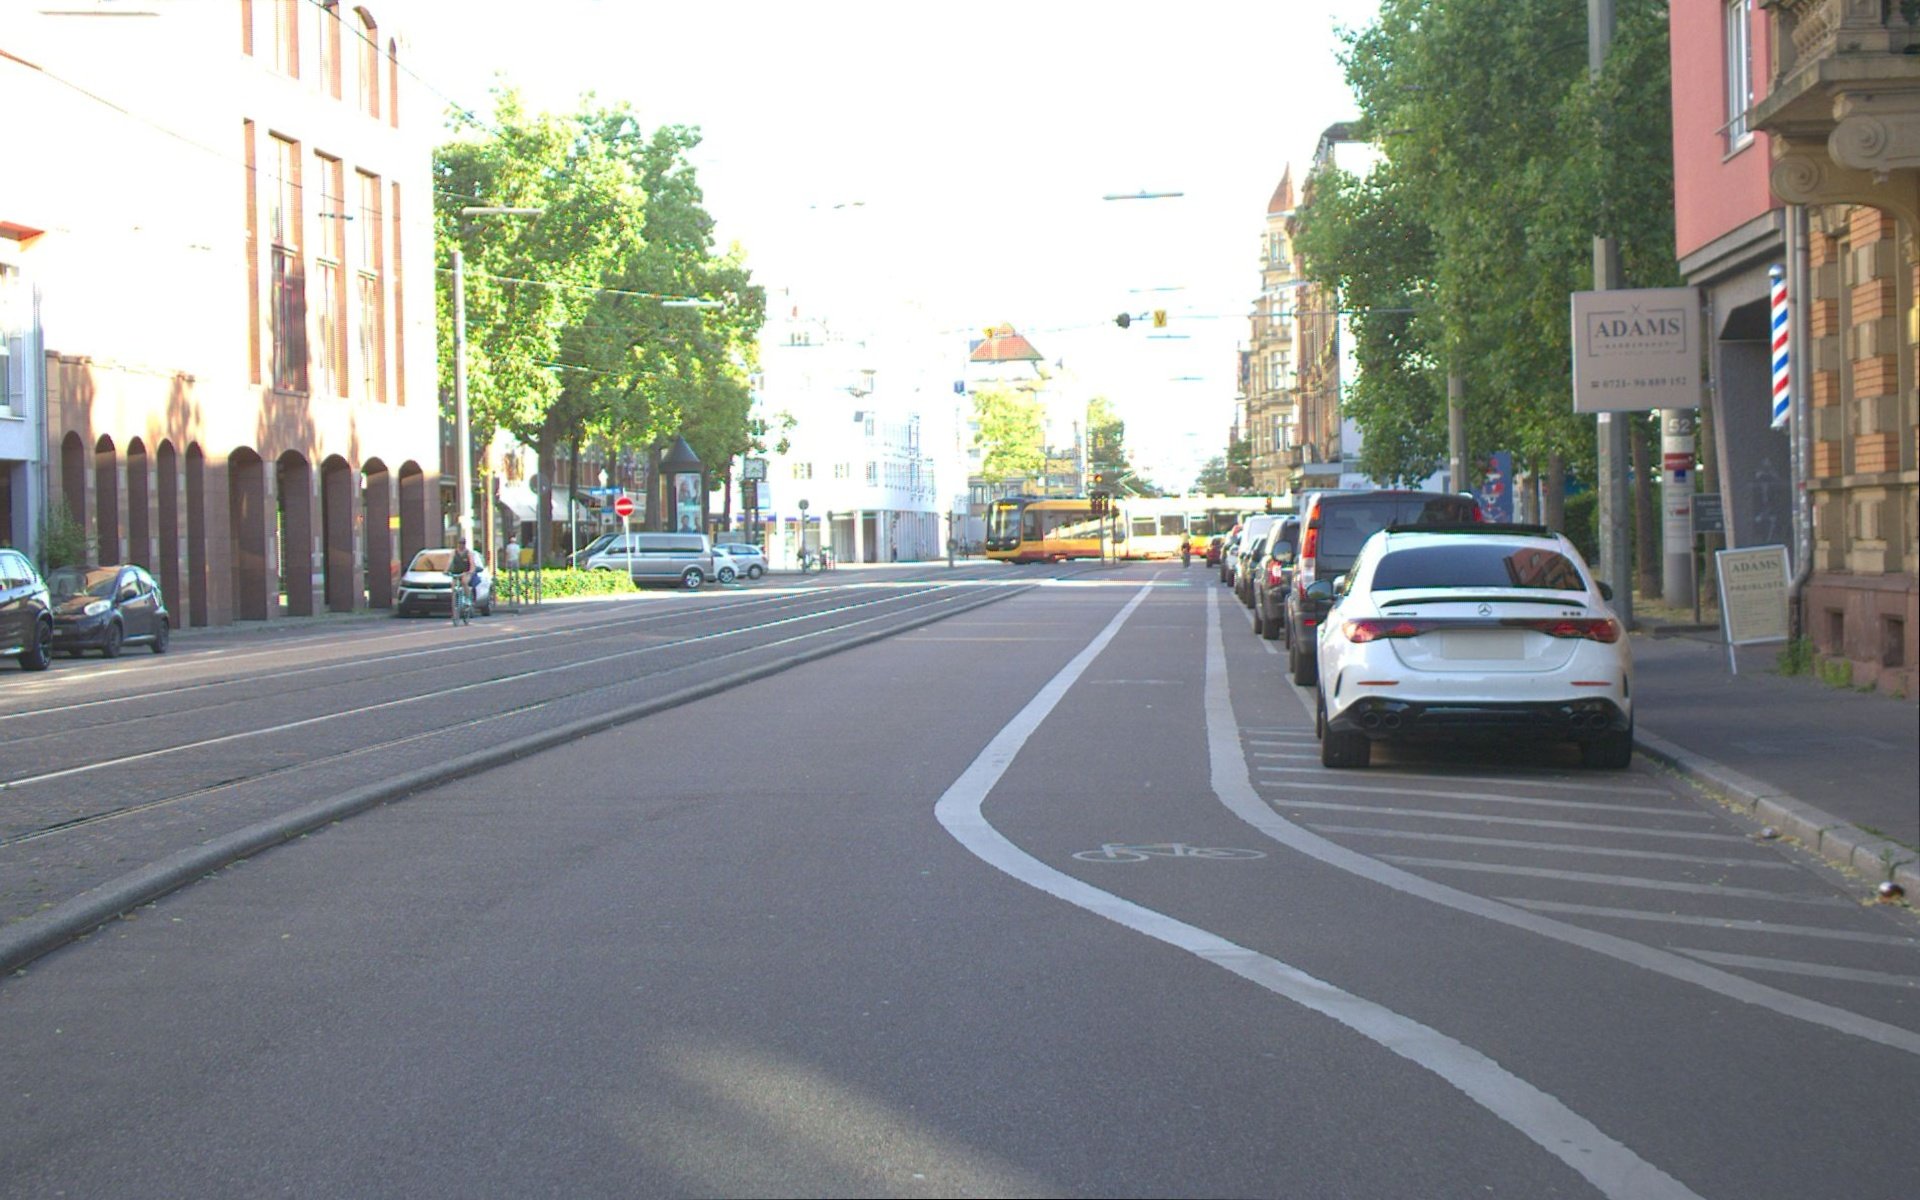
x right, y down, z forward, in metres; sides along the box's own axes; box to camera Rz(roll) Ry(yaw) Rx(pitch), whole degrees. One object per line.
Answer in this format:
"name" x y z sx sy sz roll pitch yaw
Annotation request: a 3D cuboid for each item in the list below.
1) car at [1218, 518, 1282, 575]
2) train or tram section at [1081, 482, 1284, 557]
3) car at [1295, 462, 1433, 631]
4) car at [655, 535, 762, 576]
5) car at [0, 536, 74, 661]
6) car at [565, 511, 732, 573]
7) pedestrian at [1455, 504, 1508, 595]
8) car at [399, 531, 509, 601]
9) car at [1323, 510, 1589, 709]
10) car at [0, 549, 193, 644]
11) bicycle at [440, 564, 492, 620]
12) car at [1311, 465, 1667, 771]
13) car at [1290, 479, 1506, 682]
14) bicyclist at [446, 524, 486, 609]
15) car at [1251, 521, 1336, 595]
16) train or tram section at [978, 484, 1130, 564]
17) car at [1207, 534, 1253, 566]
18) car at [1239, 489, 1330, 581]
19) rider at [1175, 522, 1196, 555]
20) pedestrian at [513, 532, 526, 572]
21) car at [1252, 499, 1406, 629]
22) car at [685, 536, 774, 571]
"car" 8.315 -1.544 98.736 1.723 1.562 4.083 -2 1 4
"train or tram section" 12.342 -4.383 189.045 12.806 3.865 2.700 0 2 -41
"car" 5.291 -0.689 44.963 1.706 2.112 3.705 0 1 7
"car" -10.146 -1.797 138.893 3.868 1.622 1.876 0 1 -26
"car" -14.035 -0.035 47.501 2.091 1.707 4.819 1 0 3
"car" -10.825 -1.992 119.605 5.251 2.036 2.419 1 0 -28
"pedestrian" 9.312 -0.908 61.398 0.776 1.561 0.913 -4 1 6
"car" -11.954 -0.828 81.412 1.869 1.594 4.254 0 1 1
"car" 3.977 0.027 28.108 1.731 1.490 3.961 0 1 2
"car" -13.760 -0.079 54.847 1.870 1.445 3.582 0 1 7
"bicycle" -10.106 -0.171 70.425 0.582 1.074 2.185 -3 1 3
"car" 3.321 0.052 22.442 1.967 1.765 4.874 0 1 5
"car" 4.290 -0.235 34.314 1.956 1.862 4.988 1 1 5
"bicyclist" -10.132 -0.693 70.506 0.571 1.706 0.745 -3 1 4
"car" 6.670 -0.860 68.928 1.621 1.427 3.984 0 1 5
"train or tram section" 5.005 -3.920 179.752 2.696 3.946 12.071 2 1 28
"car" 12.406 -2.329 158.168 2.066 1.384 4.225 2 1 4
"car" 7.543 -1.531 80.077 1.971 2.007 4.557 -2 1 5
"rider" 10.149 -2.778 154.833 0.884 1.476 0.713 1 1 5
"pedestrian" -14.921 -1.638 116.428 0.362 1.338 0.483 1 1 -16
"car" 5.354 -0.546 50.420 1.950 1.782 5.181 1 1 3
"car" -10.002 -2.016 149.317 3.519 1.476 1.582 0 1 -28
